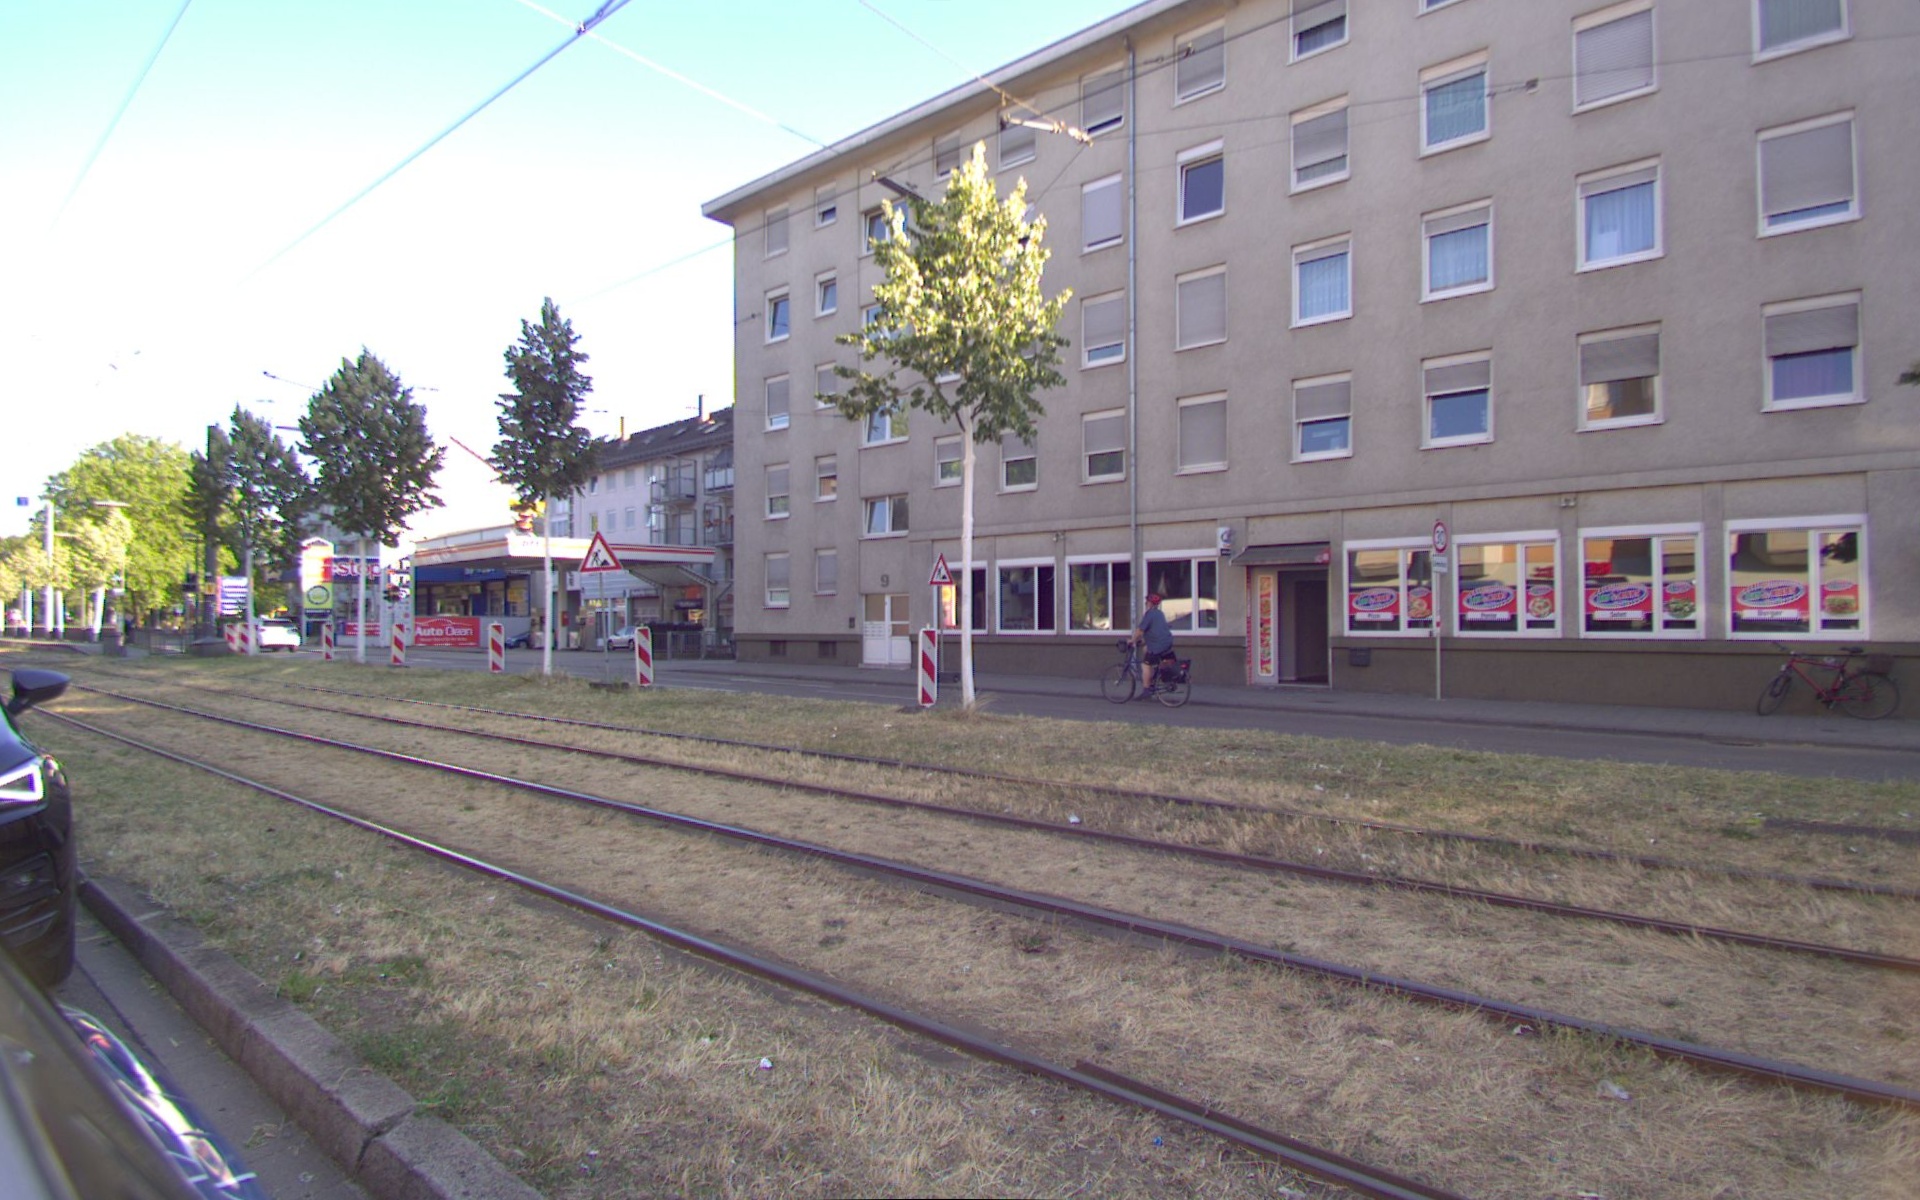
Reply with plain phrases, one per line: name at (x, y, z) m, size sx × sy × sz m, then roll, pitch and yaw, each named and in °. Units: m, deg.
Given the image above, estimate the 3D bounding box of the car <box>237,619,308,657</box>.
car at (-33.665, 1.798, 49.499) m, size 4.394 × 1.748 × 1.972 m, roll -1°, pitch -1°, yaw 43°

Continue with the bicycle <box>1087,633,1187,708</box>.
bicycle at (3.163, 1.248, 18.224) m, size 0.449 × 1.267 × 1.873 m, roll 0°, pitch -2°, yaw -42°

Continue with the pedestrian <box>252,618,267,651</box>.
pedestrian at (-43.657, 2.169, 63.093) m, size 0.583 × 2.029 × 0.623 m, roll -2°, pitch -2°, yaw 42°

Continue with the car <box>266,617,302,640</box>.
car at (-49.983, 2.111, 74.799) m, size 1.756 × 1.567 × 4.006 m, roll -1°, pitch 0°, yaw -40°

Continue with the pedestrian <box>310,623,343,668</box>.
pedestrian at (-18.312, 1.306, 29.242) m, size 0.581 × 1.280 × 0.655 m, roll -3°, pitch -1°, yaw 42°

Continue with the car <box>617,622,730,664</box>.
car at (-10.739, 1.620, 38.106) m, size 1.906 × 1.481 × 3.680 m, roll -4°, pitch -4°, yaw 40°

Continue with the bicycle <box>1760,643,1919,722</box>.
bicycle at (12.806, 1.165, 14.686) m, size 1.844 × 1.031 × 0.601 m, roll -1°, pitch 0°, yaw 41°

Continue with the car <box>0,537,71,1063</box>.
car at (-5.054, 0.676, 4.050) m, size 3.998 × 1.690 × 1.752 m, roll -1°, pitch -1°, yaw 41°

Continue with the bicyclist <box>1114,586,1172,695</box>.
bicyclist at (3.273, 0.715, 18.116) m, size 0.643 × 1.897 × 0.810 m, roll 2°, pitch -3°, yaw -43°
